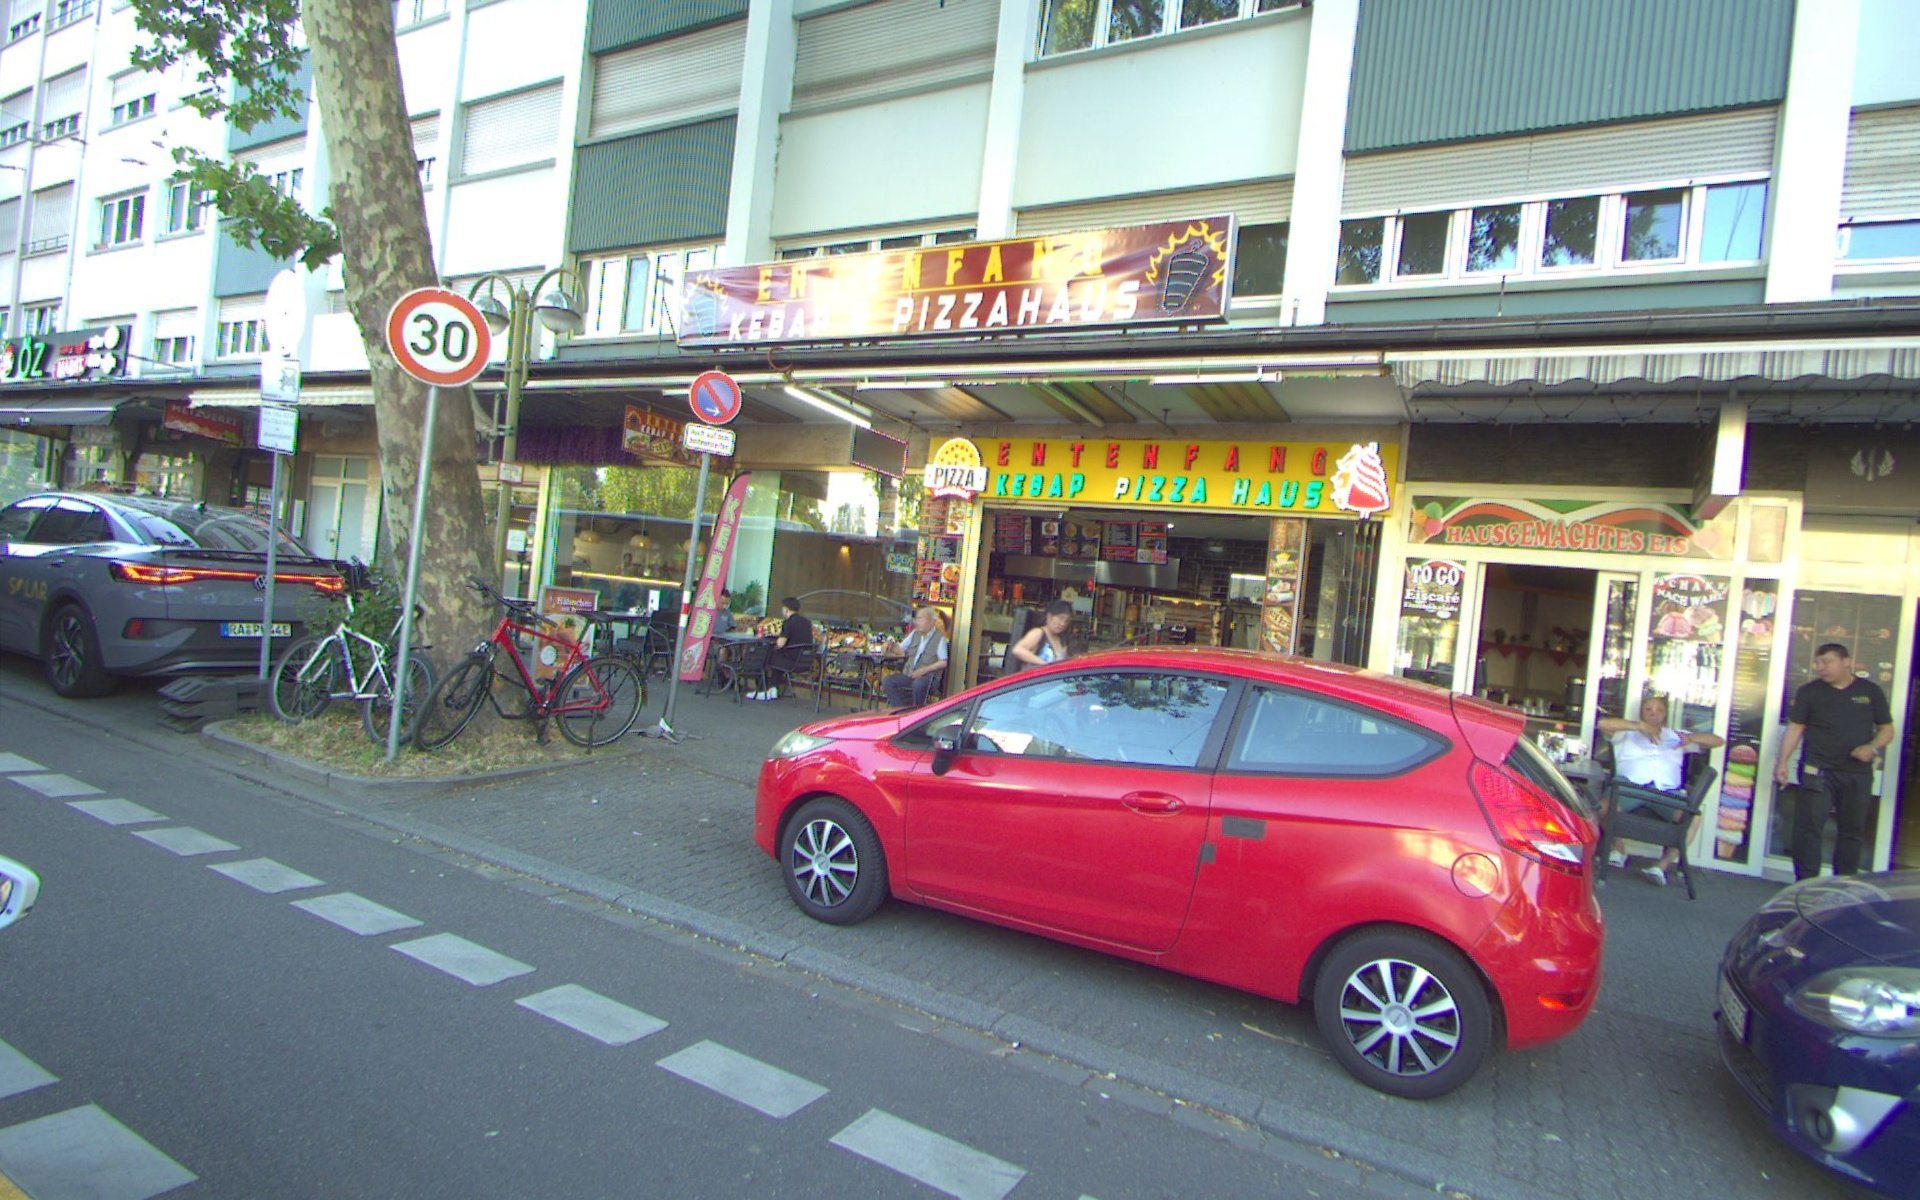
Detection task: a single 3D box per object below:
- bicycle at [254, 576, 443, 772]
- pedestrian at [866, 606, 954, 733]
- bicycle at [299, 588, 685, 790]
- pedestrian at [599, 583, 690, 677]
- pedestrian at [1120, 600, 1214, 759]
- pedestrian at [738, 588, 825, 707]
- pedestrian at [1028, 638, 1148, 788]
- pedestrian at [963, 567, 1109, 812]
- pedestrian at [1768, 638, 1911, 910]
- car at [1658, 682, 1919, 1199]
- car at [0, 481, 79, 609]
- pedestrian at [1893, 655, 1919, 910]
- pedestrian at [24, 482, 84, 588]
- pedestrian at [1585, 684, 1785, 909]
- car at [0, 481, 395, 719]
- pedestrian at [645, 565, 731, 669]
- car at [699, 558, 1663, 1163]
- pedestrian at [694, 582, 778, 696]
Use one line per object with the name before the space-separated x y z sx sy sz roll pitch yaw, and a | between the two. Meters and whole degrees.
bicycle | -4.354 0.488 7.128 1.421 1.169 0.553 6 0 36
pedestrian | -0.531 0.731 10.767 0.550 1.252 0.689 7 2 29
bicycle | -3.133 0.541 6.990 0.547 1.171 2.377 7 4 44
pedestrian | -4.102 0.382 13.128 0.940 1.094 0.639 7 0 -9
pedestrian | 2.188 0.831 10.618 0.589 1.566 0.700 7 0 34
pedestrian | -2.051 0.540 11.576 0.679 1.261 0.558 7 2 33
pedestrian | 1.181 1.003 9.241 0.798 1.225 0.654 7 2 28
pedestrian | 0.562 0.631 7.400 0.783 1.666 0.583 4 -1 30
pedestrian | 6.208 1.194 7.126 0.547 1.802 0.395 6 2 29
car | 4.255 1.249 2.746 3.549 1.488 1.767 6 3 29
car | -14.289 -0.936 13.671 4.292 1.603 1.996 7 2 27
pedestrian | 6.876 1.245 6.839 0.391 1.805 0.552 4 2 -29
pedestrian | -15.263 -1.090 16.952 0.661 1.688 0.593 4 2 -42
pedestrian | 5.174 1.341 7.276 0.937 1.352 1.069 7 0 30
car | -7.485 -0.133 9.139 4.292 1.603 1.996 7 2 27
pedestrian | -3.874 0.239 14.398 0.958 1.350 0.830 6 0 -9
car | 0.847 0.798 4.797 3.757 1.617 1.783 6 3 28
pedestrian | -2.660 0.459 11.948 0.680 1.261 0.557 7 2 38
